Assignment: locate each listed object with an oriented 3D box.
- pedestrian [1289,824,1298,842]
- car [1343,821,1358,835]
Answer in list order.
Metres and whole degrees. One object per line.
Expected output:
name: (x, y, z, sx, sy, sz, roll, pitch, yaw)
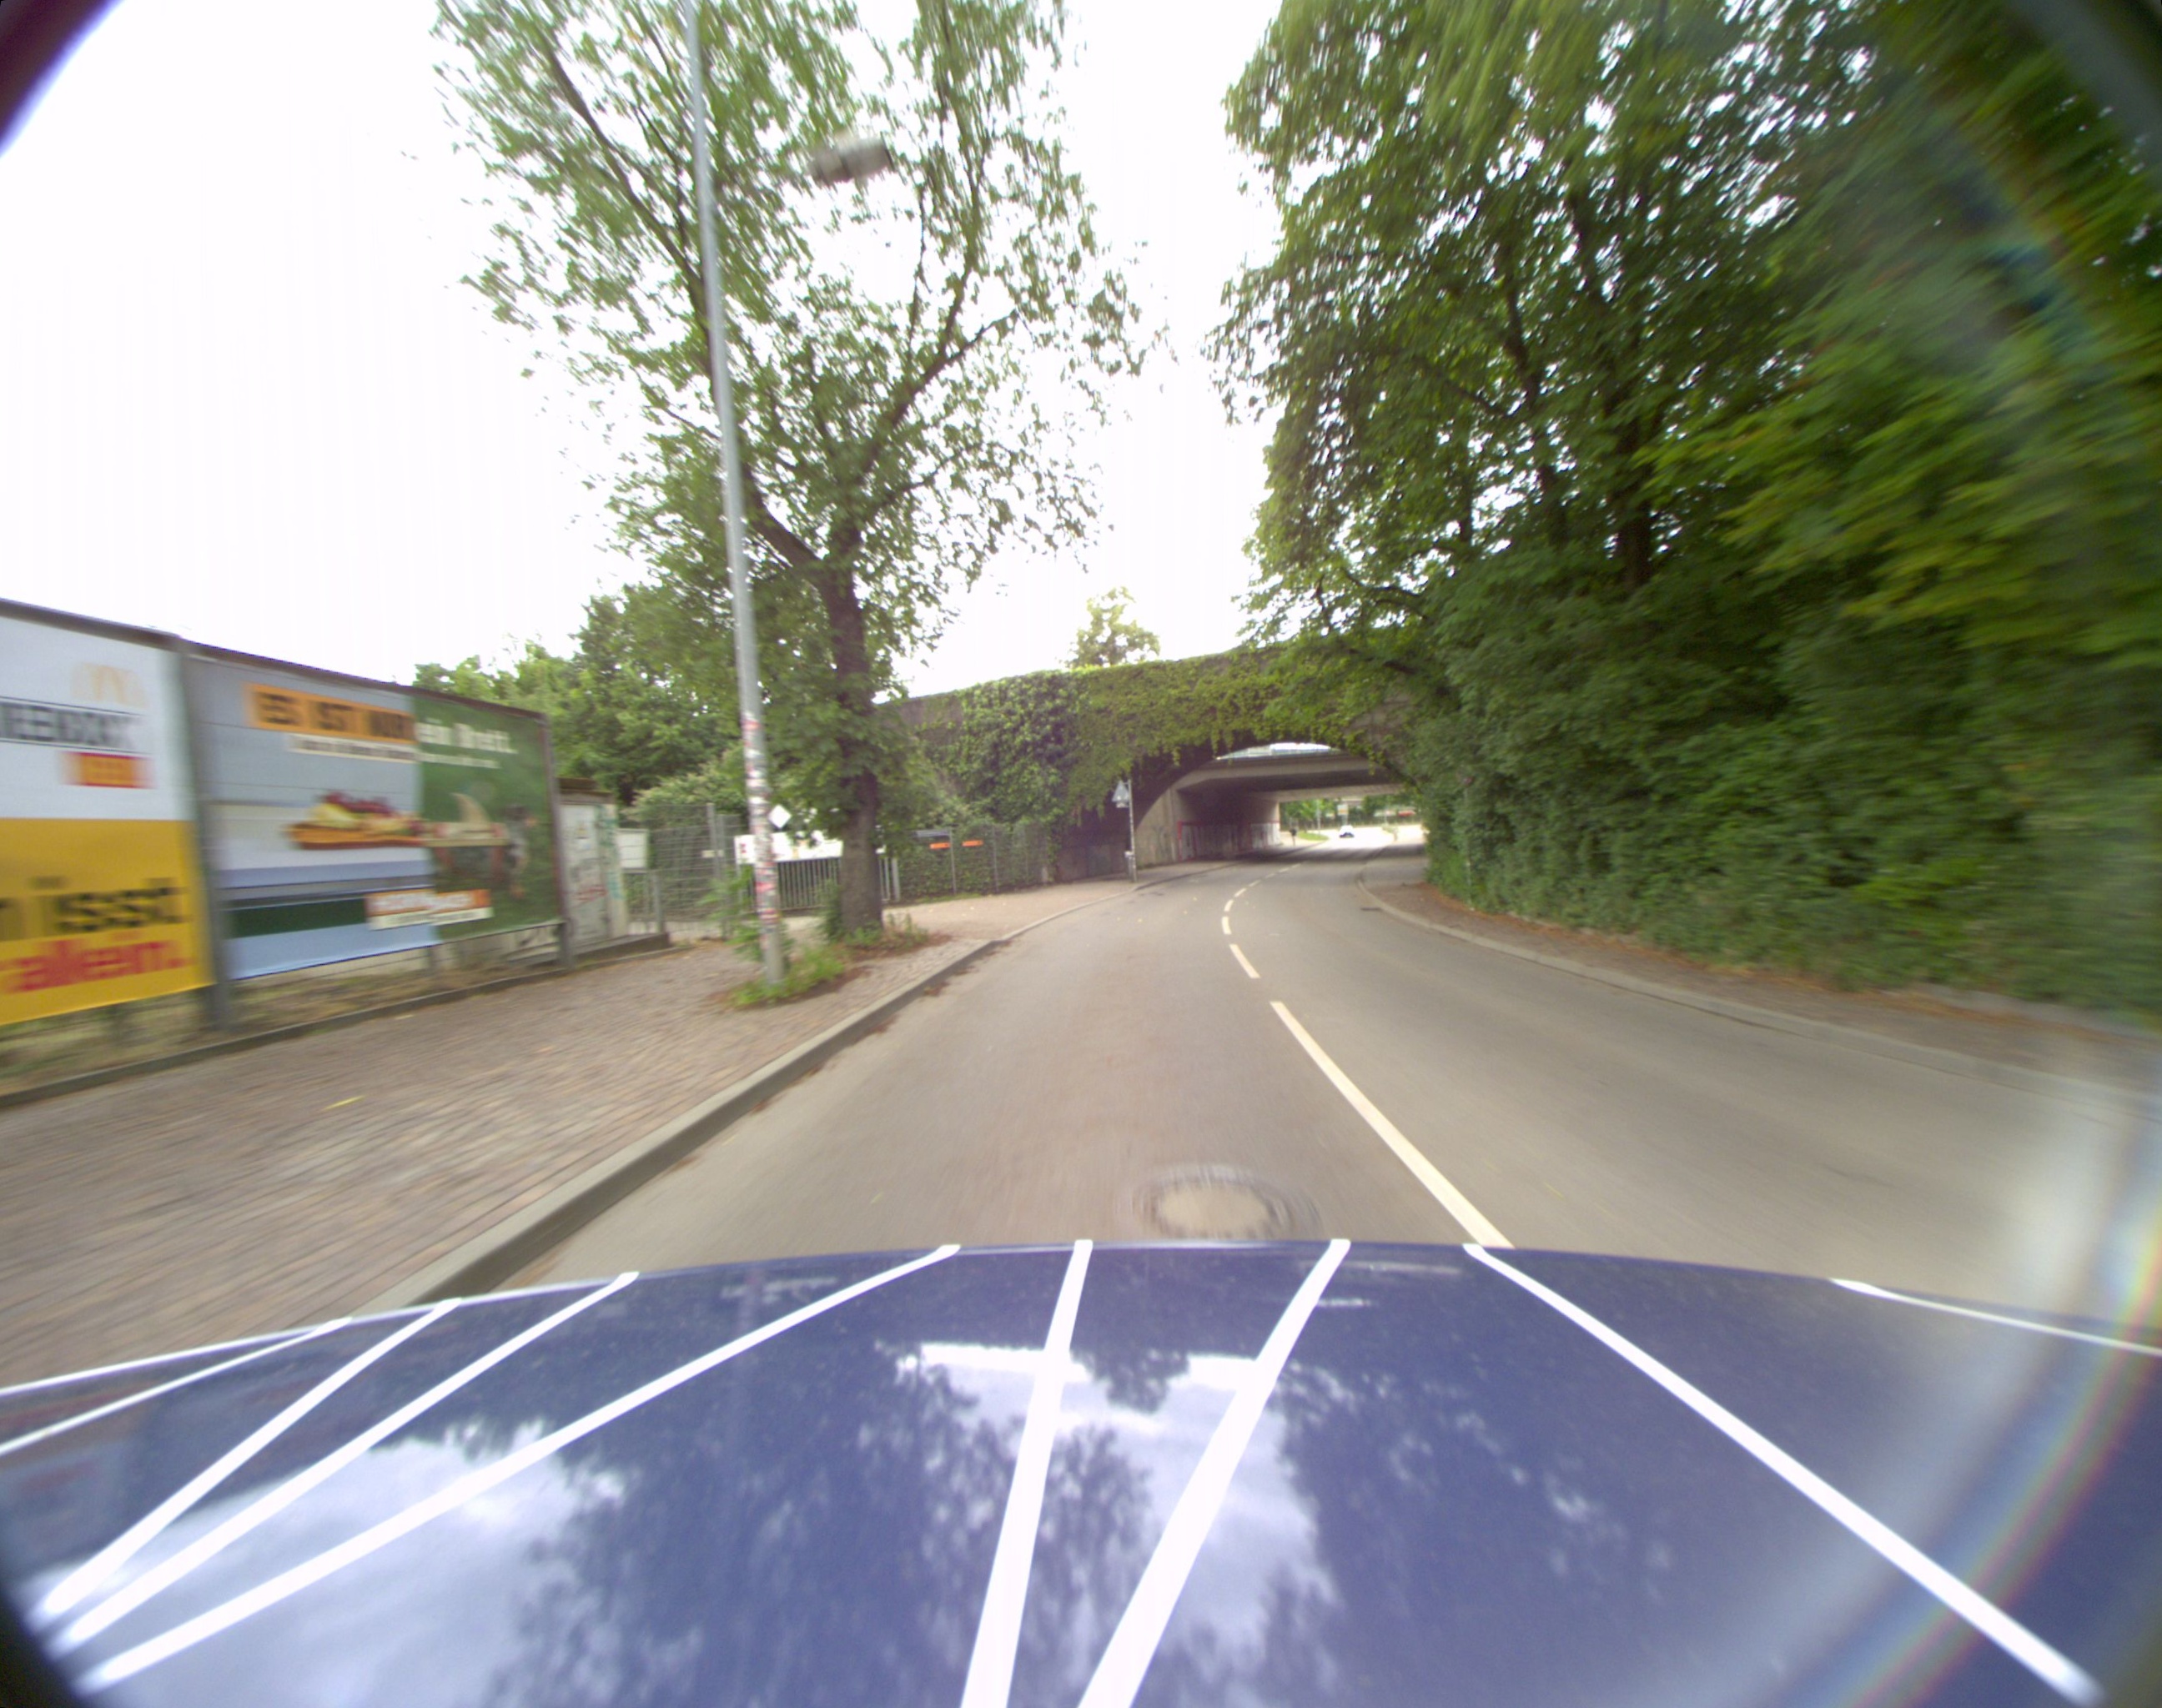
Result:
pedestrian: (21.833, -2.167, 77.951, 0.820, 1.870, 1.181, 0, 3, 17)
car: (35.249, -3.394, 99.399, 1.804, 1.602, 4.179, 0, 5, 20)
